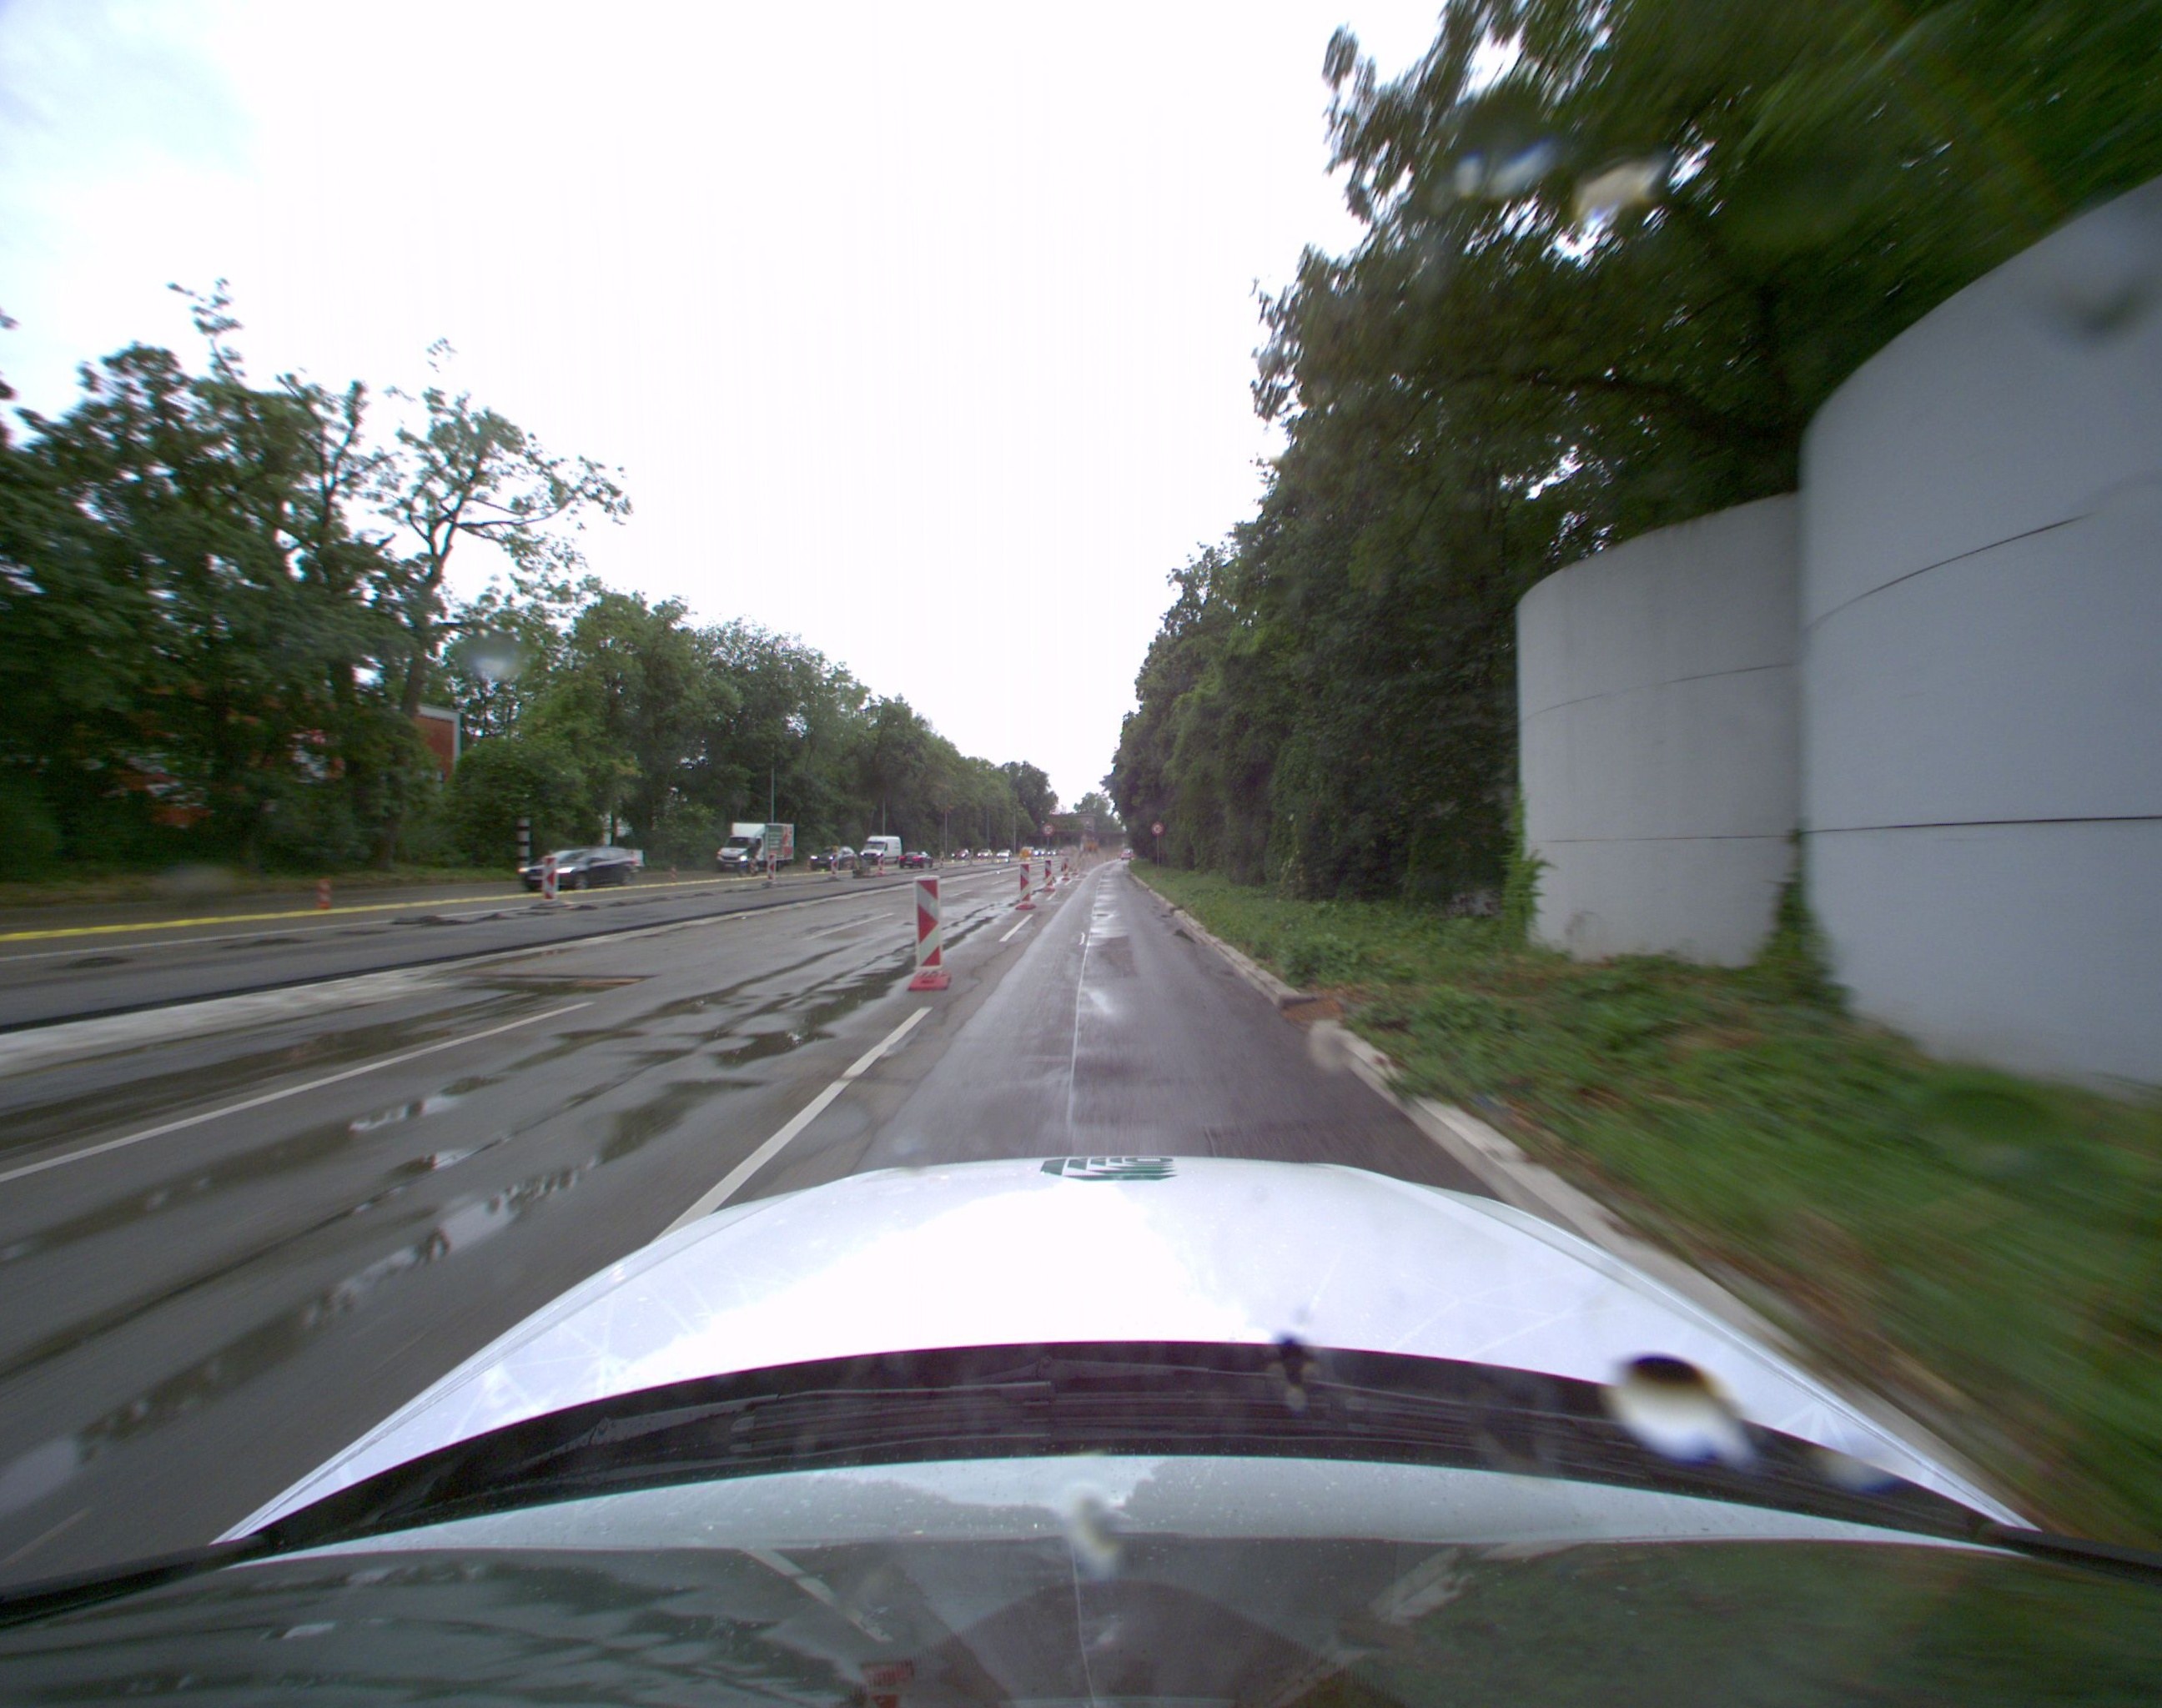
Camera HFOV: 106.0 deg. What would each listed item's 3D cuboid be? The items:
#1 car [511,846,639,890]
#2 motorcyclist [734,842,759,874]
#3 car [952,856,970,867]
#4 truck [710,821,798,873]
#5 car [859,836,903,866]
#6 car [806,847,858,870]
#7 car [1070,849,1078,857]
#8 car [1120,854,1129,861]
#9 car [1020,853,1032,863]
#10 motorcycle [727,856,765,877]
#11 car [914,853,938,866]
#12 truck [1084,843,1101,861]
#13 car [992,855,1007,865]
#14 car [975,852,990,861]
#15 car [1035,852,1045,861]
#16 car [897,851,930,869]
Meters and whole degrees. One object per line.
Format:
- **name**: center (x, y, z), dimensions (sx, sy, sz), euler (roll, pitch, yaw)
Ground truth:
- **car**: center (-17.302, 0.443, 28.106), dimensions (1.664, 1.415, 4.321), euler (0, 0, 1)
- **motorcyclist**: center (-16.741, 0.215, 40.809), dimensions (0.825, 1.564, 0.927), euler (1, 0, 1)
- **car**: center (-16.465, 1.019, 112.083), dimensions (1.663, 1.485, 4.323), euler (0, 0, 3)
- **truck**: center (-19.682, -0.423, 49.442), dimensions (2.237, 2.940, 6.940), euler (0, 0, 3)
- **car**: center (-18.258, -0.267, 74.765), dimensions (2.091, 2.579, 6.858), euler (0, 0, 3)
- **car**: center (-16.797, 0.290, 55.090), dimensions (1.952, 1.531, 4.440), euler (0, 0, 3)
- **car**: center (-1.637, -0.213, 184.976), dimensions (1.663, 1.808, 4.324), euler (0, 1, 3)
- **car**: center (8.127, 0.661, 152.390), dimensions (1.690, 1.336, 3.494), euler (-2, 0, 3)
- **car**: center (-10.117, 0.709, 149.258), dimensions (1.663, 1.809, 4.323), euler (0, 0, 3)
- **motorcycle**: center (-16.746, 0.594, 40.791), dimensions (0.825, 1.014, 2.367), euler (1, 0, 2)
- **car**: center (-17.461, 0.582, 91.696), dimensions (1.663, 1.485, 4.323), euler (0, 0, 3)
- **truck**: center (2.389, -0.419, 162.575), dimensions (3.247, 3.497, 13.876), euler (0, 0, 2)
- **car**: center (-12.579, 0.917, 125.464), dimensions (1.663, 1.485, 4.323), euler (0, 0, 3)
- **car**: center (-15.411, 0.373, 127.915), dimensions (1.663, 1.485, 4.052), euler (0, 0, 3)
- **car**: center (-8.487, 0.487, 170.049), dimensions (1.663, 1.809, 4.323), euler (0, 0, 3)
- **car**: center (-13.182, 0.459, 64.220), dimensions (1.601, 1.404, 4.044), euler (0, 0, 3)
